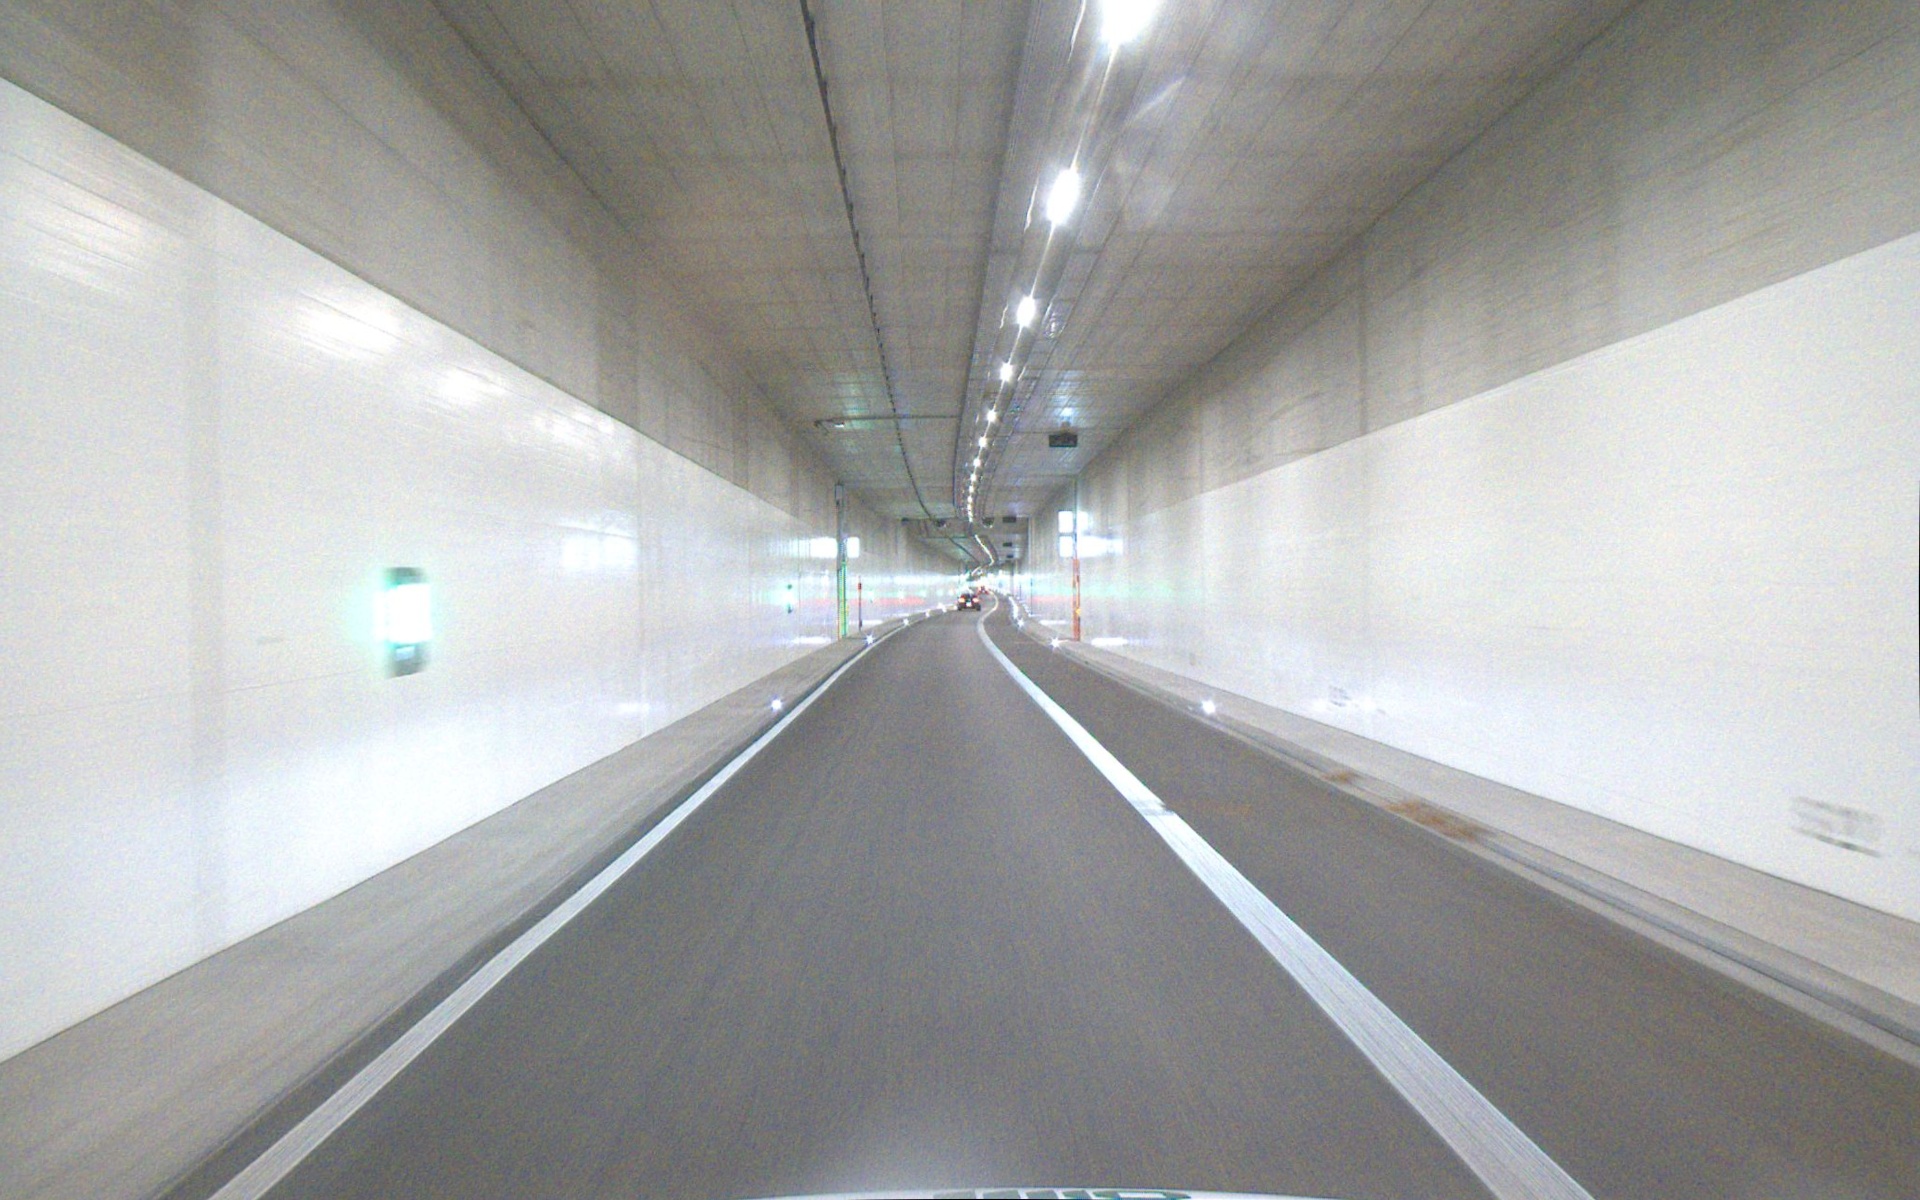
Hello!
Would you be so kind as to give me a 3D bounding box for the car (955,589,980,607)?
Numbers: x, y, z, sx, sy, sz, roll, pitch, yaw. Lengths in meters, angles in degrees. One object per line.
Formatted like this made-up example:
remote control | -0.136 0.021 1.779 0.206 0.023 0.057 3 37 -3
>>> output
car | 0.623 -0.171 133.845 1.953 1.445 4.000 1 0 -1
